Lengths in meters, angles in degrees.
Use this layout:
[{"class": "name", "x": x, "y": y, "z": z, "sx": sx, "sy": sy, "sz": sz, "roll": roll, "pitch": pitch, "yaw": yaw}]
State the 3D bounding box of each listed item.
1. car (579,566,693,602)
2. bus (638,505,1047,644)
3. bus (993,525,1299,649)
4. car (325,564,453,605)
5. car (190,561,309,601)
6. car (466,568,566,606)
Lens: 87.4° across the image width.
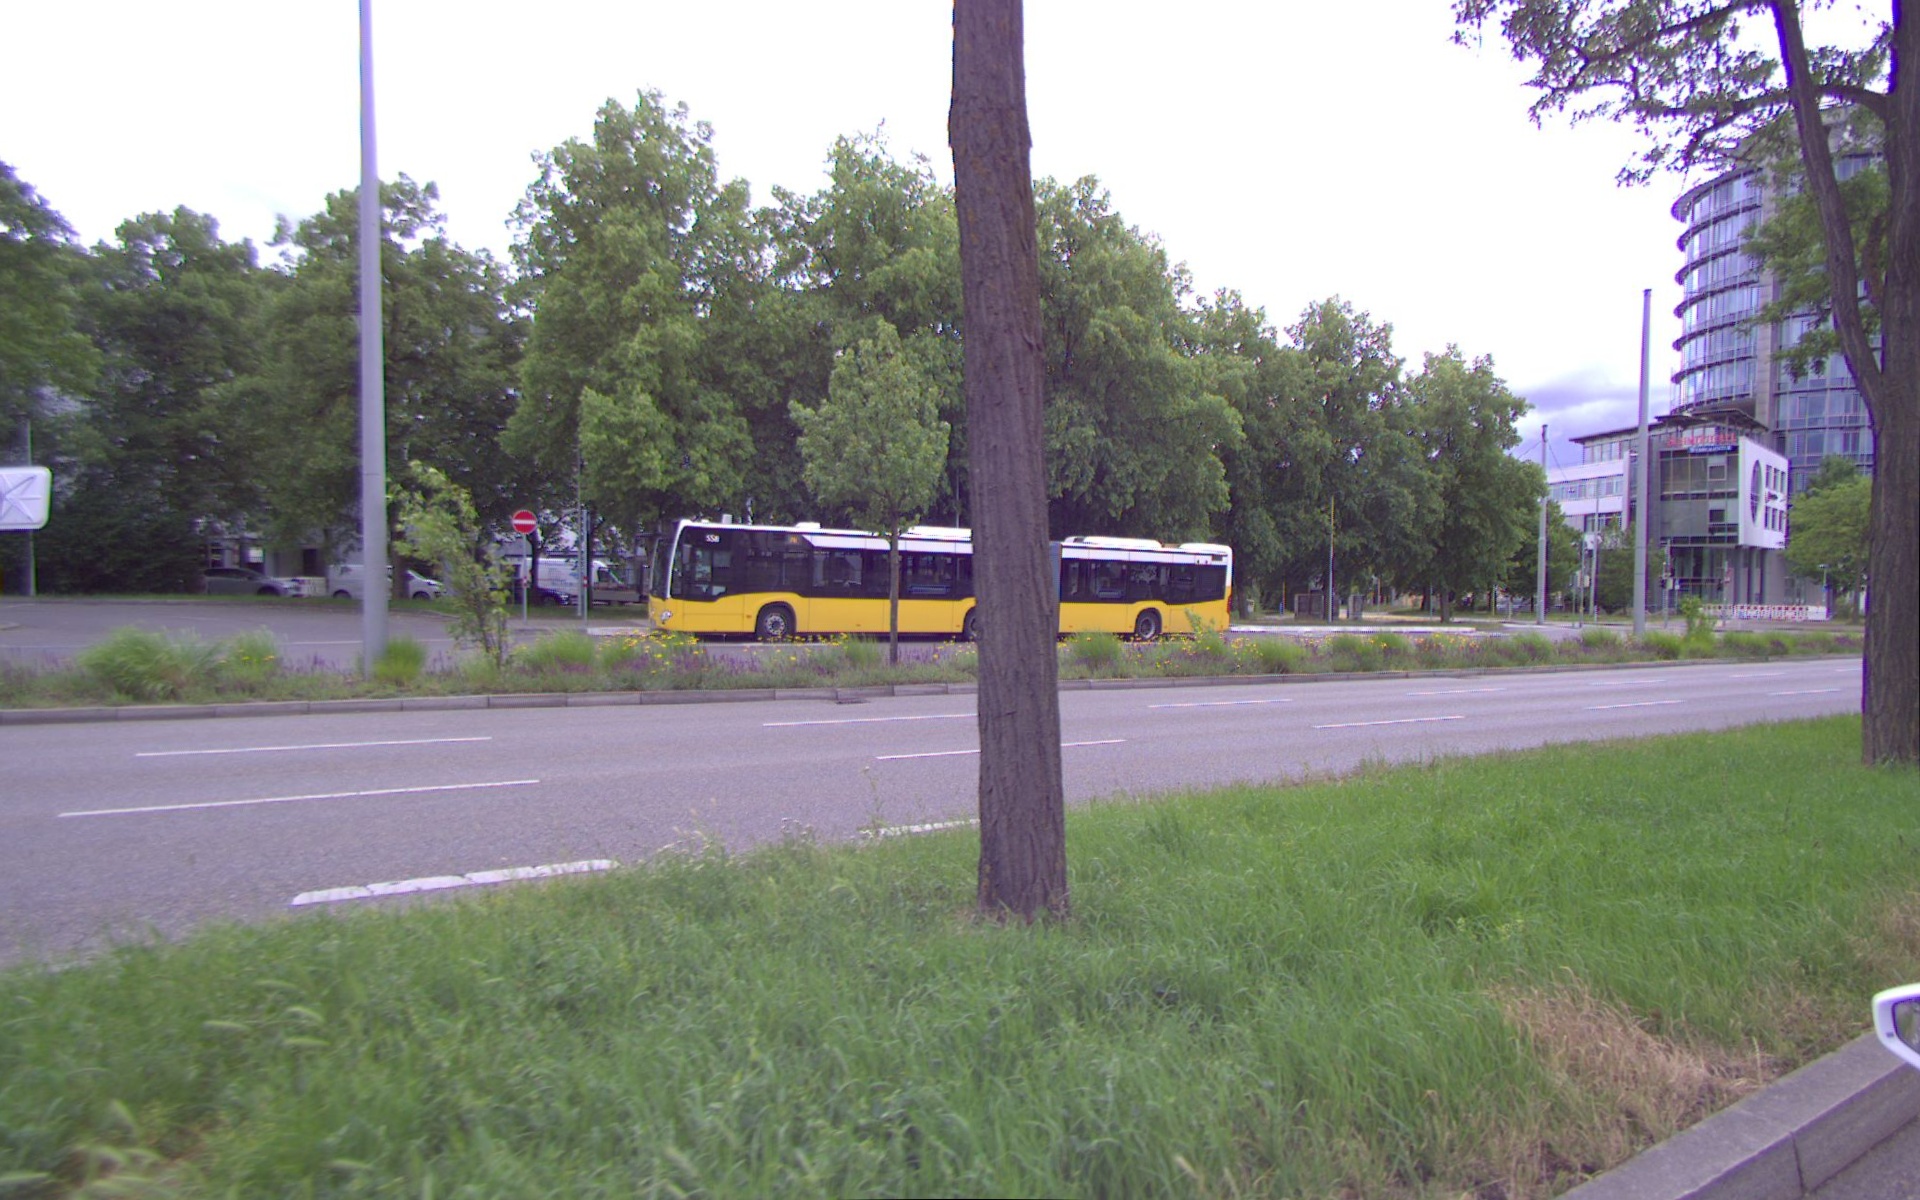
[{"class": "car", "x": -16.073, "y": -0.763, "z": 50.102, "sx": 5.313, "sy": 1.670, "sz": 1.993, "roll": 1, "pitch": 1, "yaw": -16}, {"class": "bus", "x": -2.941, "y": -0.605, "z": 27.216, "sx": 10.606, "sy": 3.205, "sz": 3.069, "roll": 1, "pitch": 3, "yaw": -29}, {"class": "bus", "x": 6.066, "y": -0.356, "z": 32.065, "sx": 9.786, "sy": 3.502, "sz": 3.019, "roll": 1, "pitch": 2, "yaw": -28}, {"class": "car", "x": -26.608, "y": -0.717, "z": 47.008, "sx": 4.838, "sy": 1.747, "sz": 1.992, "roll": 1, "pitch": 1, "yaw": -18}, {"class": "car", "x": -32.057, "y": -0.840, "z": 45.444, "sx": 3.937, "sy": 1.706, "sz": 1.992, "roll": 1, "pitch": 1, "yaw": -18}, {"class": "car", "x": -21.336, "y": -0.601, "z": 48.471, "sx": 4.160, "sy": 1.706, "sz": 1.992, "roll": 1, "pitch": 1, "yaw": -18}]
